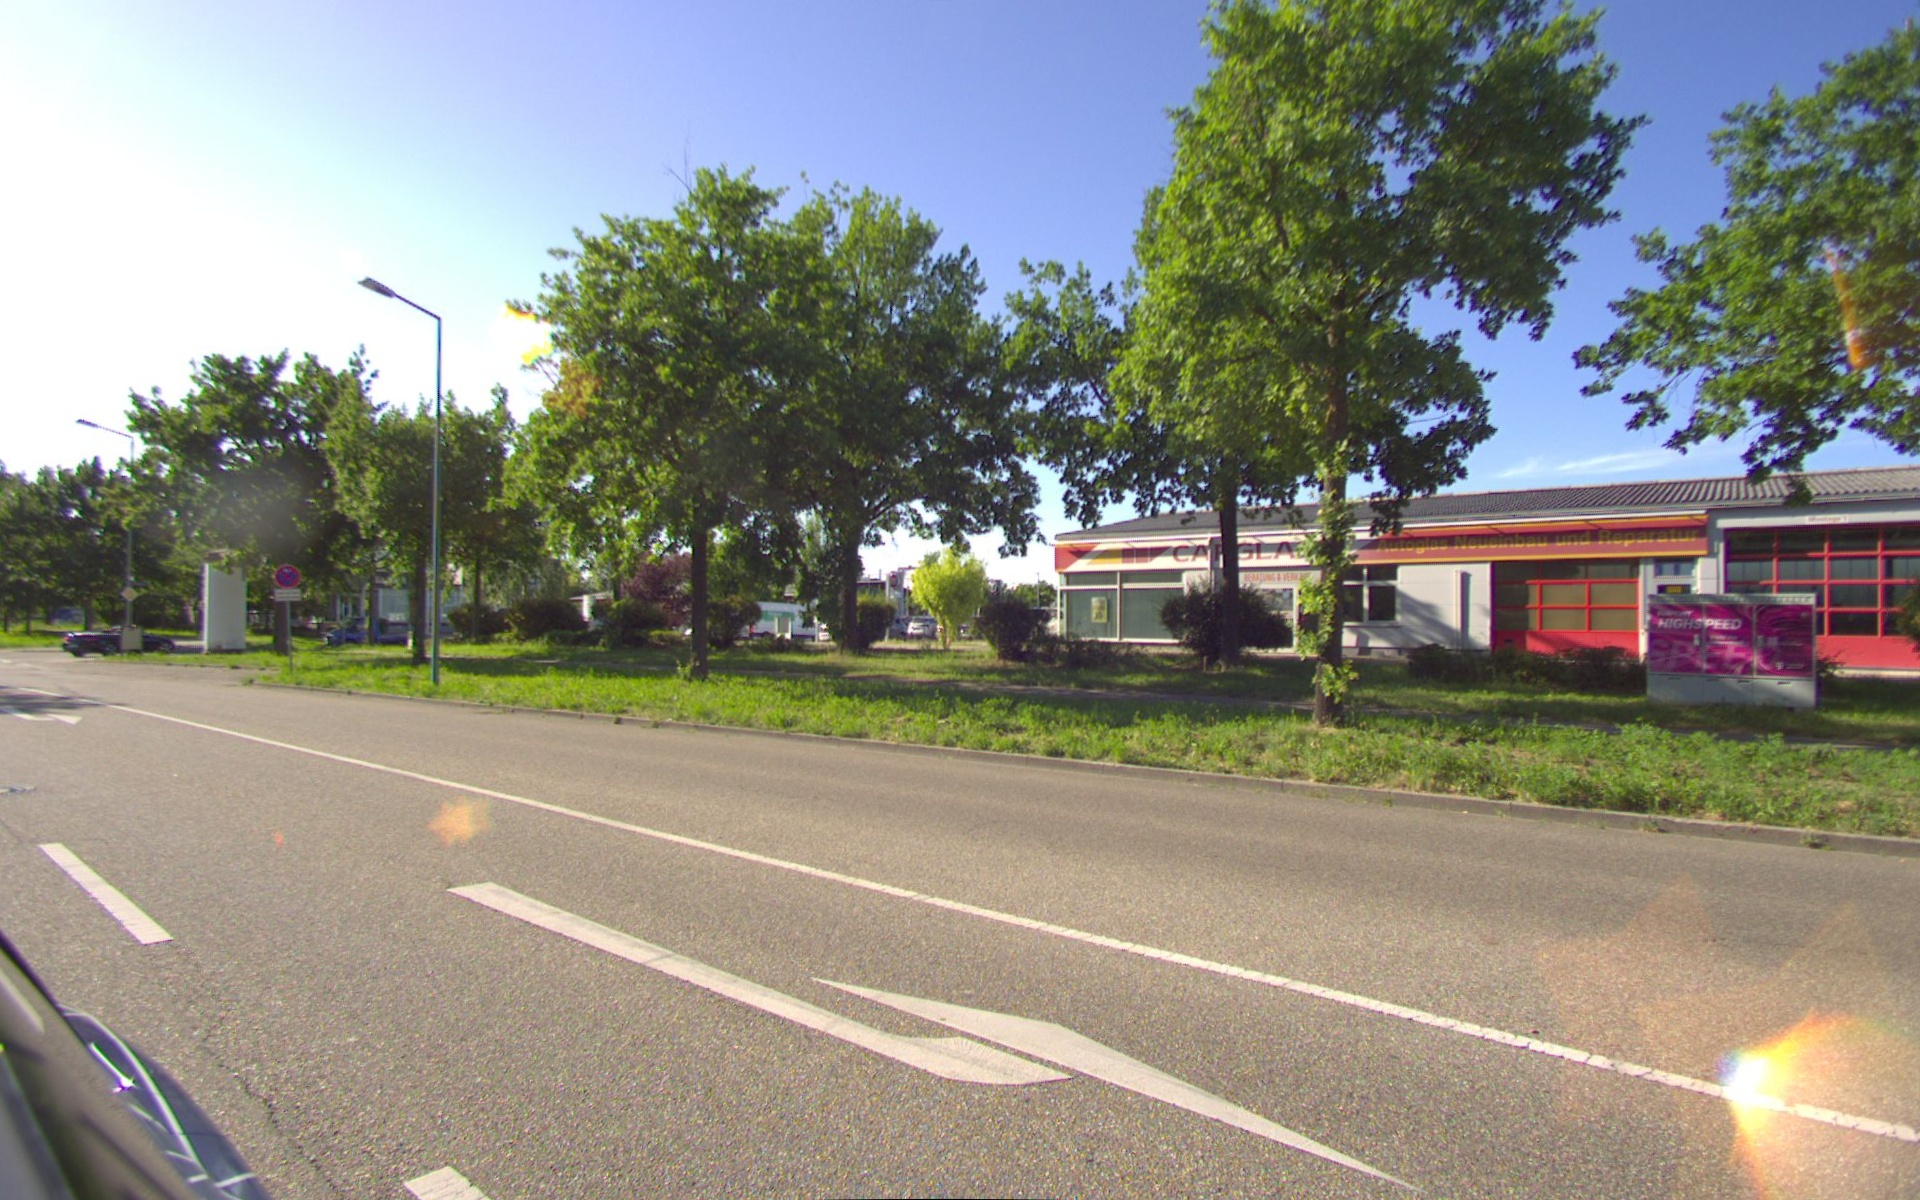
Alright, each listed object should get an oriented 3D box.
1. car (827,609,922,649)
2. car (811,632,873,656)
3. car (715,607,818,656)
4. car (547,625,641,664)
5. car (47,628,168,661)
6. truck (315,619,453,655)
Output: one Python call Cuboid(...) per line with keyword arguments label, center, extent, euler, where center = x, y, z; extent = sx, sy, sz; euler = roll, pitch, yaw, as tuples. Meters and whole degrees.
Cuboid(label="car", center=(-4.695, 1.593, 56.196), extent=(2.297, 2.085, 5.359), euler=(-1, -2, 37))
Cuboid(label="car", center=(-6.810, 2.546, 58.672), extent=(1.572, 1.312, 3.489), euler=(-1, -1, 38))
Cuboid(label="car", center=(-11.498, 1.823, 60.616), extent=(2.297, 2.723, 6.102), euler=(0, 0, 37))
Cuboid(label="car", center=(-26.648, 3.200, 73.971), extent=(2.297, 2.535, 6.280), euler=(0, 0, 37))
Cuboid(label="car", center=(-39.178, 2.090, 46.676), extent=(1.969, 1.414, 4.593), euler=(2, -4, -6))
Cuboid(label="truck", center=(-35.249, 2.240, 62.193), extent=(2.138, 2.065, 7.043), euler=(0, -2, 38))
